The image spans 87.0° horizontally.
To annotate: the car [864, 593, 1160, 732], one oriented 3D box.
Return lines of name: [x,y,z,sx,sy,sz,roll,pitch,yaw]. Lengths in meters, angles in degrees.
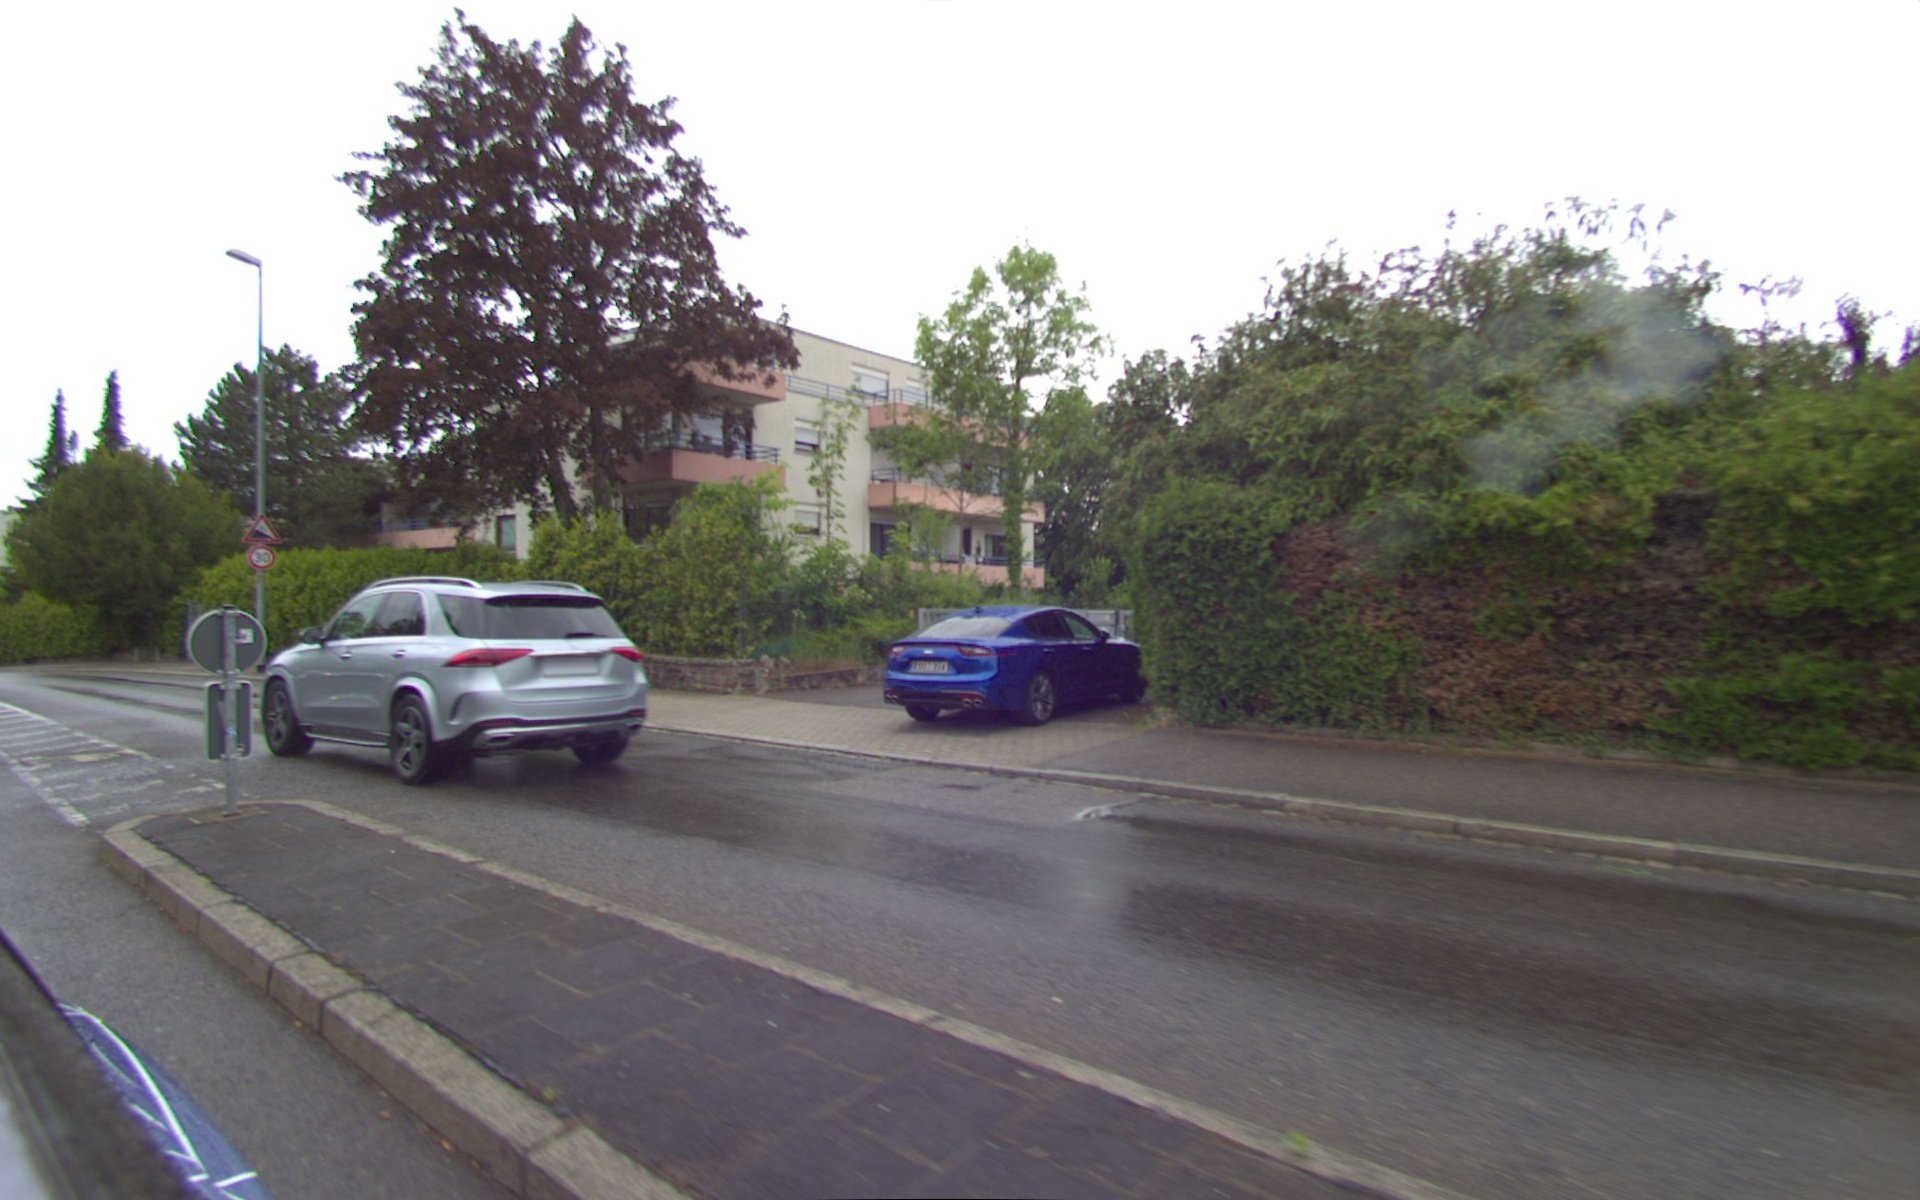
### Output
car: [0.873,0.698,13.215,1.800,1.372,4.446,-3,0,34]

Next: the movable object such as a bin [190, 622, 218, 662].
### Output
movable object such as a bin: [-26.052,1.453,34.880,0.804,1.336,0.542,-4,-1,36]

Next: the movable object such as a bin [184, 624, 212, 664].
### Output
movable object such as a bin: [-26.713,1.537,35.471,0.804,1.336,0.542,-4,-1,36]

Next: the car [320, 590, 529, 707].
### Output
car: [-9.337,0.789,17.538,3.974,1.720,1.684,-2,2,39]

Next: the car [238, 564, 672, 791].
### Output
car: [-5.047,0.667,9.903,4.473,1.729,2.022,-2,-3,37]
